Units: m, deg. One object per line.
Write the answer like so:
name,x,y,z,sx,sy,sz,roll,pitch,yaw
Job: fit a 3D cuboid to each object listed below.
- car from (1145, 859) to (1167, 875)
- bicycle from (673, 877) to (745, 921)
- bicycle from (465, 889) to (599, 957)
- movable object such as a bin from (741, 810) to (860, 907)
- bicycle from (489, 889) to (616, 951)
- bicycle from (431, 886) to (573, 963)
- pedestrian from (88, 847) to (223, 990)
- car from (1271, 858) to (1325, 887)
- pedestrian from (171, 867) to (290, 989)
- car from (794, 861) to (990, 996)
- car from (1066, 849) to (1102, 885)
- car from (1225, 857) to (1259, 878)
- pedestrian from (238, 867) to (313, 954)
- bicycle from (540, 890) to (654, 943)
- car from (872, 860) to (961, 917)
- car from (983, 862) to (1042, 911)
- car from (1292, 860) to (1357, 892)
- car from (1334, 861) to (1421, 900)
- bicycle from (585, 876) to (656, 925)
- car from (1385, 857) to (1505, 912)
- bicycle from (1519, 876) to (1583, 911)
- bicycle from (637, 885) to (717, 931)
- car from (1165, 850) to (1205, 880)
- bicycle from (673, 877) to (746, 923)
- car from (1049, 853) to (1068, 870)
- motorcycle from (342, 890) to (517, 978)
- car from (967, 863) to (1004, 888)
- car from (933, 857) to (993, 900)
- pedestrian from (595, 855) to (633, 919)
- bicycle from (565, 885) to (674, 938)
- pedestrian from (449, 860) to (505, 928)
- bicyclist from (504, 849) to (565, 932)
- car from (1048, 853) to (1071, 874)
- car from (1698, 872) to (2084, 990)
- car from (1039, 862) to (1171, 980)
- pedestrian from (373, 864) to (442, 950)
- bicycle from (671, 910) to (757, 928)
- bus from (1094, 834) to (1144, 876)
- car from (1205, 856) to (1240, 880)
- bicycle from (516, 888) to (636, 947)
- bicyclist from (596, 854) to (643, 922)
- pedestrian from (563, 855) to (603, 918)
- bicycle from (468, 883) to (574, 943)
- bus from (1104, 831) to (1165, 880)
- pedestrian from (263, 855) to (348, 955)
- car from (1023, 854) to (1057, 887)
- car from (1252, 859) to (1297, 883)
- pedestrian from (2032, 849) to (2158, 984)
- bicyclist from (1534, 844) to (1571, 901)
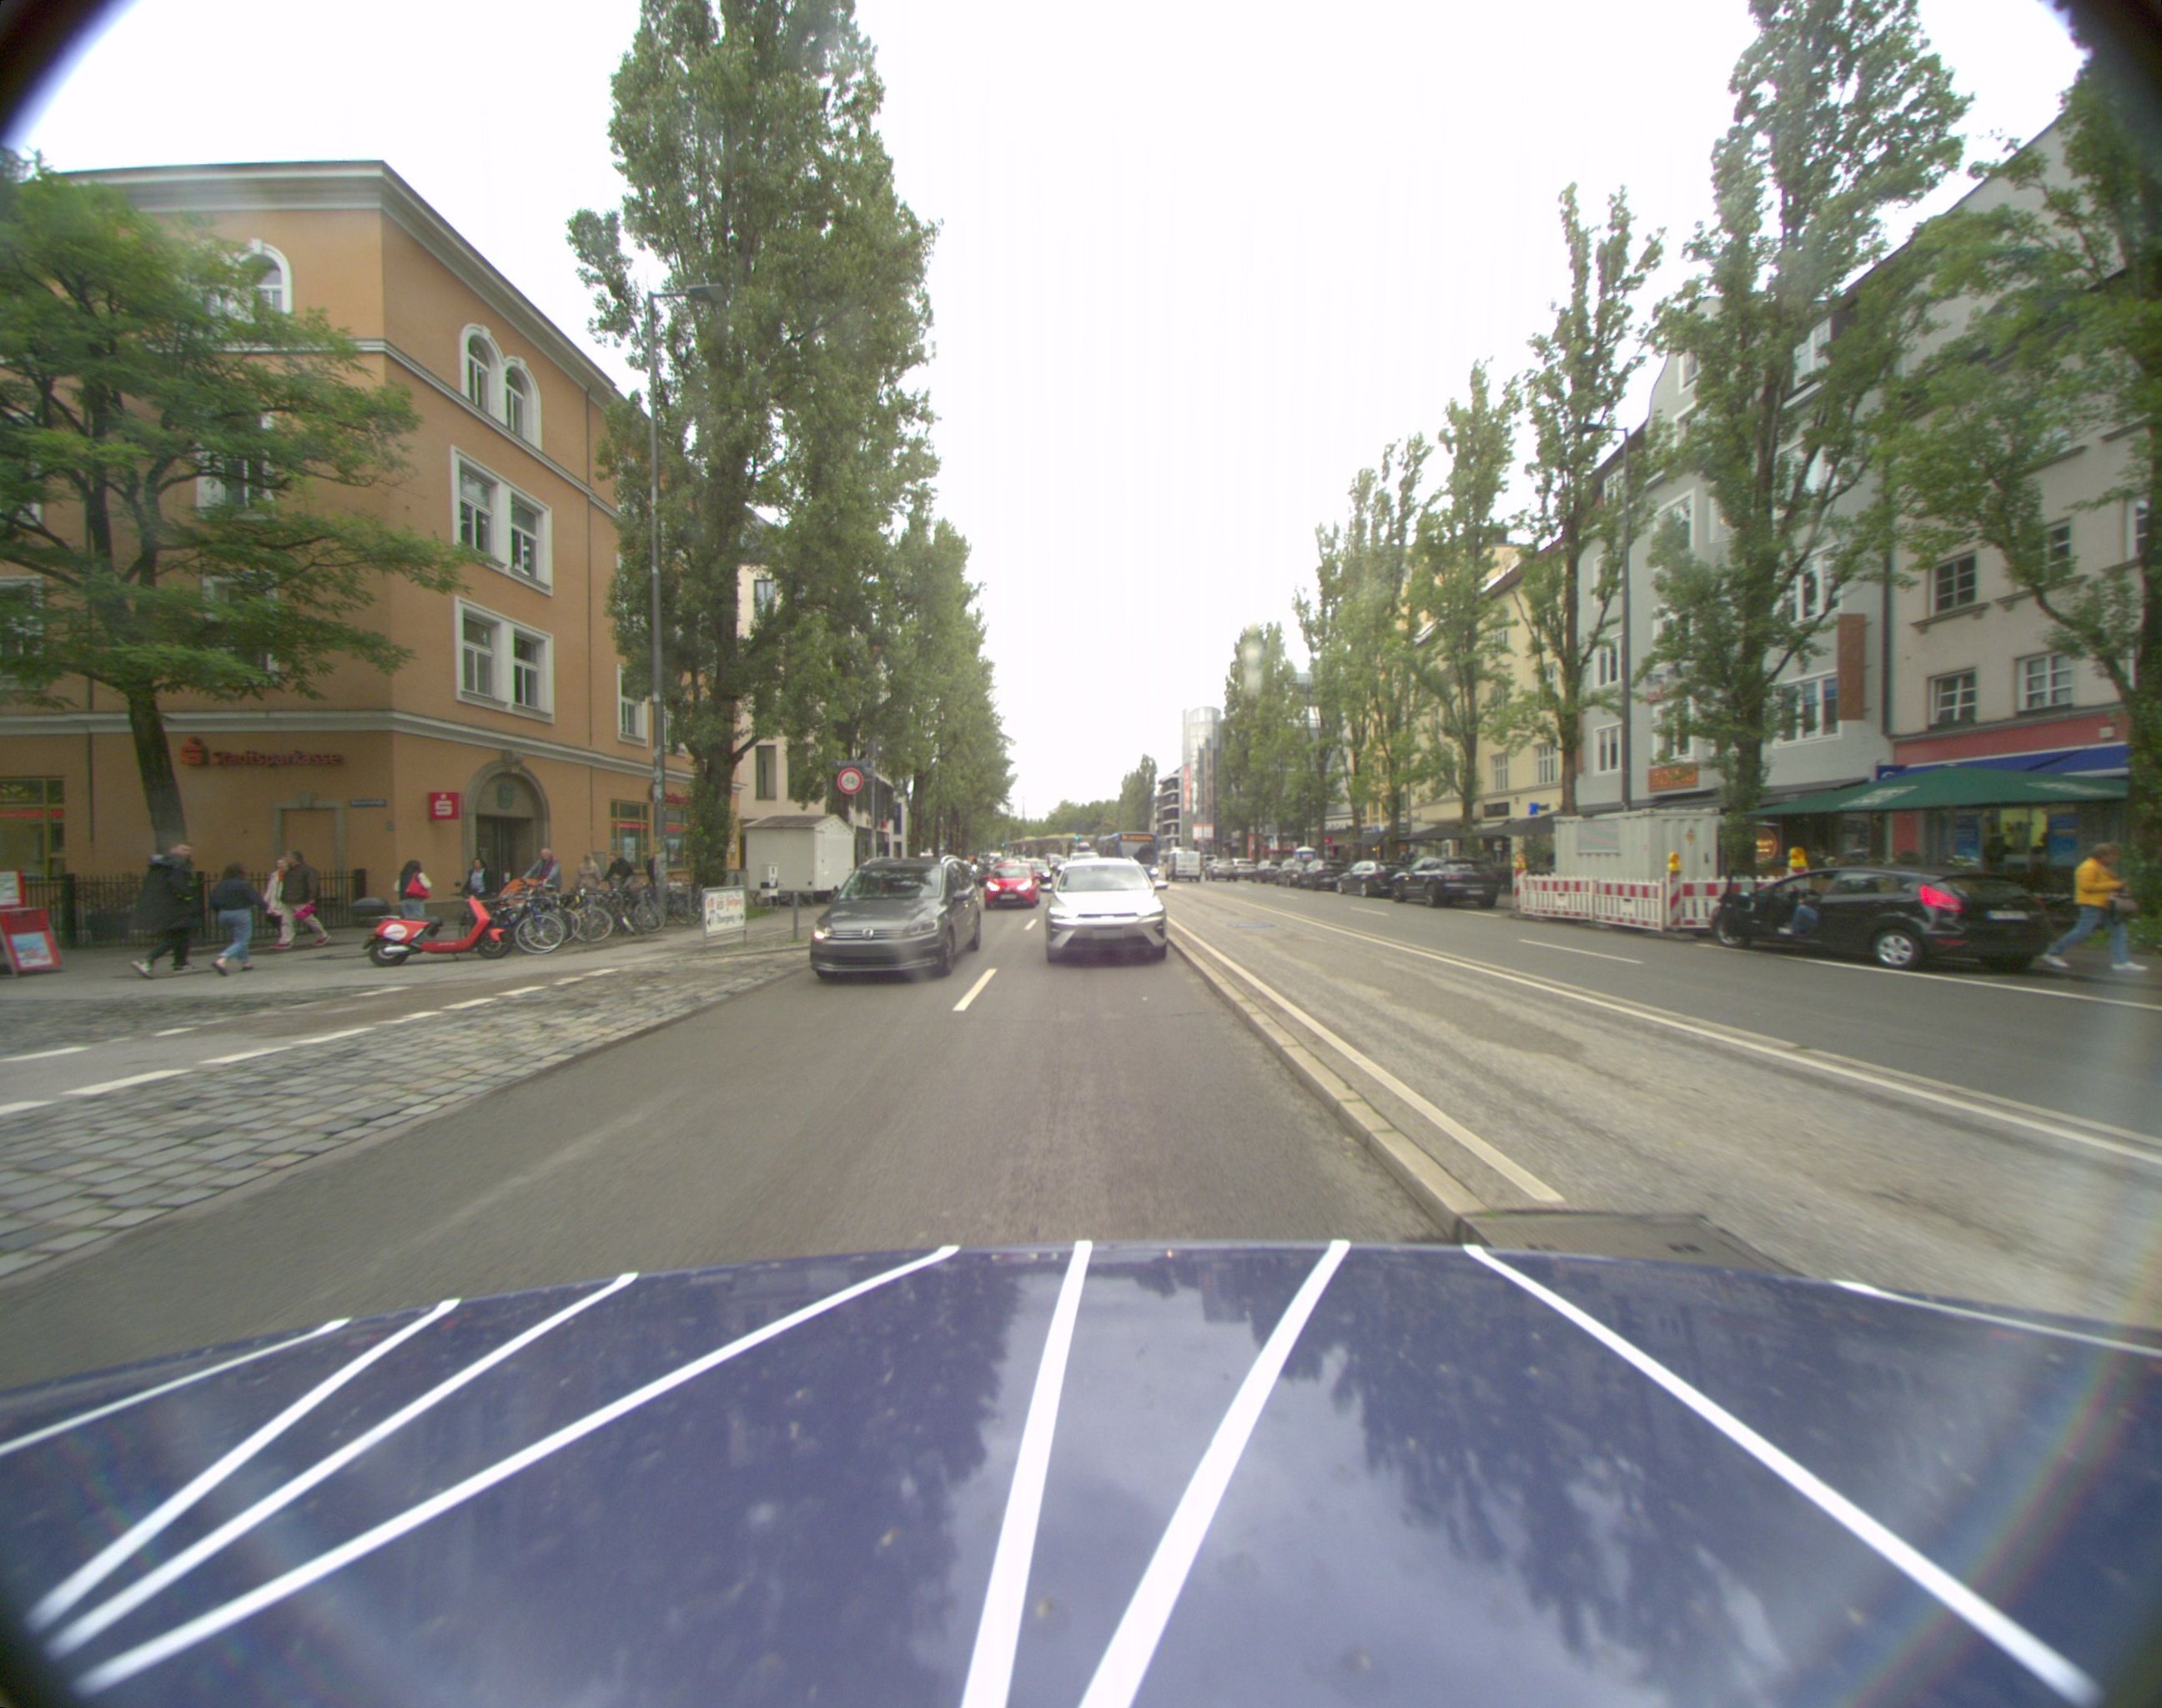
car,6.950,1.210,70.627,1.616,1.432,3.596,0,0,0
bicycle,-9.477,1.137,19.411,1.610,1.078,0.321,-1,1,-22
bicycle,-9.621,1.202,13.358,1.945,1.130,0.561,-1,0,1
movable object such as a bin,-9.786,0.145,26.975,2.445,3.119,4.543,1,0,1
bicycle,-9.717,1.204,14.008,1.945,1.082,0.561,-1,0,1
bicycle,-9.658,1.166,12.714,1.945,1.232,0.561,-1,0,1
pedestrian,-13.081,0.882,10.770,0.839,1.937,0.802,-2,1,5
car,12.141,1.003,42.822,1.802,1.495,4.574,0,0,1
pedestrian,-12.185,1.029,10.913,0.746,1.651,0.771,-2,1,0
car,-2.597,0.951,11.532,1.882,1.582,4.192,-2,0,0
car,0.140,0.652,43.022,1.839,1.831,5.129,-2,1,0
car,12.415,0.993,58.943,1.802,1.568,4.104,0,0,1
pedestrian,-14.997,1.036,14.153,0.699,1.562,0.575,-2,1,3
bicycle,-9.768,1.255,15.356,1.945,1.004,0.561,-1,0,1
car,-5.057,1.005,23.996,1.789,1.544,4.498,-2,0,0
car,-2.230,1.043,25.635,1.616,1.425,4.003,-2,0,0
car,11.912,1.032,37.497,1.802,1.431,4.574,0,0,1
car,11.912,1.010,30.894,1.802,1.431,4.574,0,0,1
bicycle,-11.683,1.147,19.360,0.737,1.113,2.100,-1,0,-8
car,11.787,0.925,24.978,1.802,1.603,4.574,0,0,1
bicycle,14.202,1.175,23.020,0.613,0.963,2.174,-1,0,1
bicycle,-9.312,1.228,17.527,1.602,1.004,0.342,-1,1,-7
car,6.929,0.730,51.196,1.897,1.921,5.071,0,0,-1
bicycle,-9.319,1.148,19.081,1.604,1.078,0.341,-1,1,-22
car,-2.341,0.781,79.383,1.707,1.683,4.001,-2,0,-5
motorcycle,-10.002,1.196,11.751,1.963,1.214,0.514,-1,0,-25
car,-5.733,1.271,46.118,1.700,1.352,4.003,-2,0,0
car,-4.887,0.981,32.079,1.789,1.604,4.498,-2,0,0
pedestrian,-12.845,0.894,20.894,0.619,1.684,0.574,-2,1,-4
bicycle,-9.762,1.210,16.104,1.945,1.078,0.561,-1,0,1
pedestrian,-14.537,0.947,18.303,0.745,1.562,0.664,-2,1,3
bicyclist,-11.840,0.765,16.486,0.831,1.747,0.667,-1,0,-8
car,-1.884,0.815,65.983,1.707,1.683,4.001,-2,0,-5
car,11.918,1.033,11.618,1.760,1.414,3.784,0,0,-3
car,0.330,0.934,12.385,1.742,1.509,4.033,-2,0,0
pedestrian,-12.783,0.987,14.443,0.747,1.562,0.613,-3,1,-21
bicycle,-8.834,1.557,18.337,1.677,0.371,0.830,1,0,-7
bus,2.799,0.087,58.878,2.691,2.932,10.048,-1,0,-4
car,9.866,0.942,53.138,1.718,1.532,4.077,1,0,1
bicycle,-9.780,1.219,14.752,1.945,1.069,0.561,-1,0,1
bicyclist,-11.679,0.834,19.253,0.741,1.677,0.748,-1,0,-7
pedestrian,-13.679,0.891,20.879,0.634,1.684,0.574,-2,1,-2
bicycle,-11.792,1.206,16.111,0.887,1.113,2.100,-1,0,-8
bus,3.344,0.099,50.518,2.697,2.932,10.048,-1,0,-4
pedestrian,-14.218,0.908,13.953,0.699,1.756,0.732,-2,1,3
car,-2.325,0.897,42.252,1.707,1.683,4.001,-2,0,-5
car,12.248,1.058,48.356,1.802,1.431,4.574,0,0,1
pedestrian,13.382,0.802,10.050,0.699,1.716,0.732,0,0,-2
bicyclist,14.196,0.549,22.908,0.606,1.695,0.816,-1,1,1
